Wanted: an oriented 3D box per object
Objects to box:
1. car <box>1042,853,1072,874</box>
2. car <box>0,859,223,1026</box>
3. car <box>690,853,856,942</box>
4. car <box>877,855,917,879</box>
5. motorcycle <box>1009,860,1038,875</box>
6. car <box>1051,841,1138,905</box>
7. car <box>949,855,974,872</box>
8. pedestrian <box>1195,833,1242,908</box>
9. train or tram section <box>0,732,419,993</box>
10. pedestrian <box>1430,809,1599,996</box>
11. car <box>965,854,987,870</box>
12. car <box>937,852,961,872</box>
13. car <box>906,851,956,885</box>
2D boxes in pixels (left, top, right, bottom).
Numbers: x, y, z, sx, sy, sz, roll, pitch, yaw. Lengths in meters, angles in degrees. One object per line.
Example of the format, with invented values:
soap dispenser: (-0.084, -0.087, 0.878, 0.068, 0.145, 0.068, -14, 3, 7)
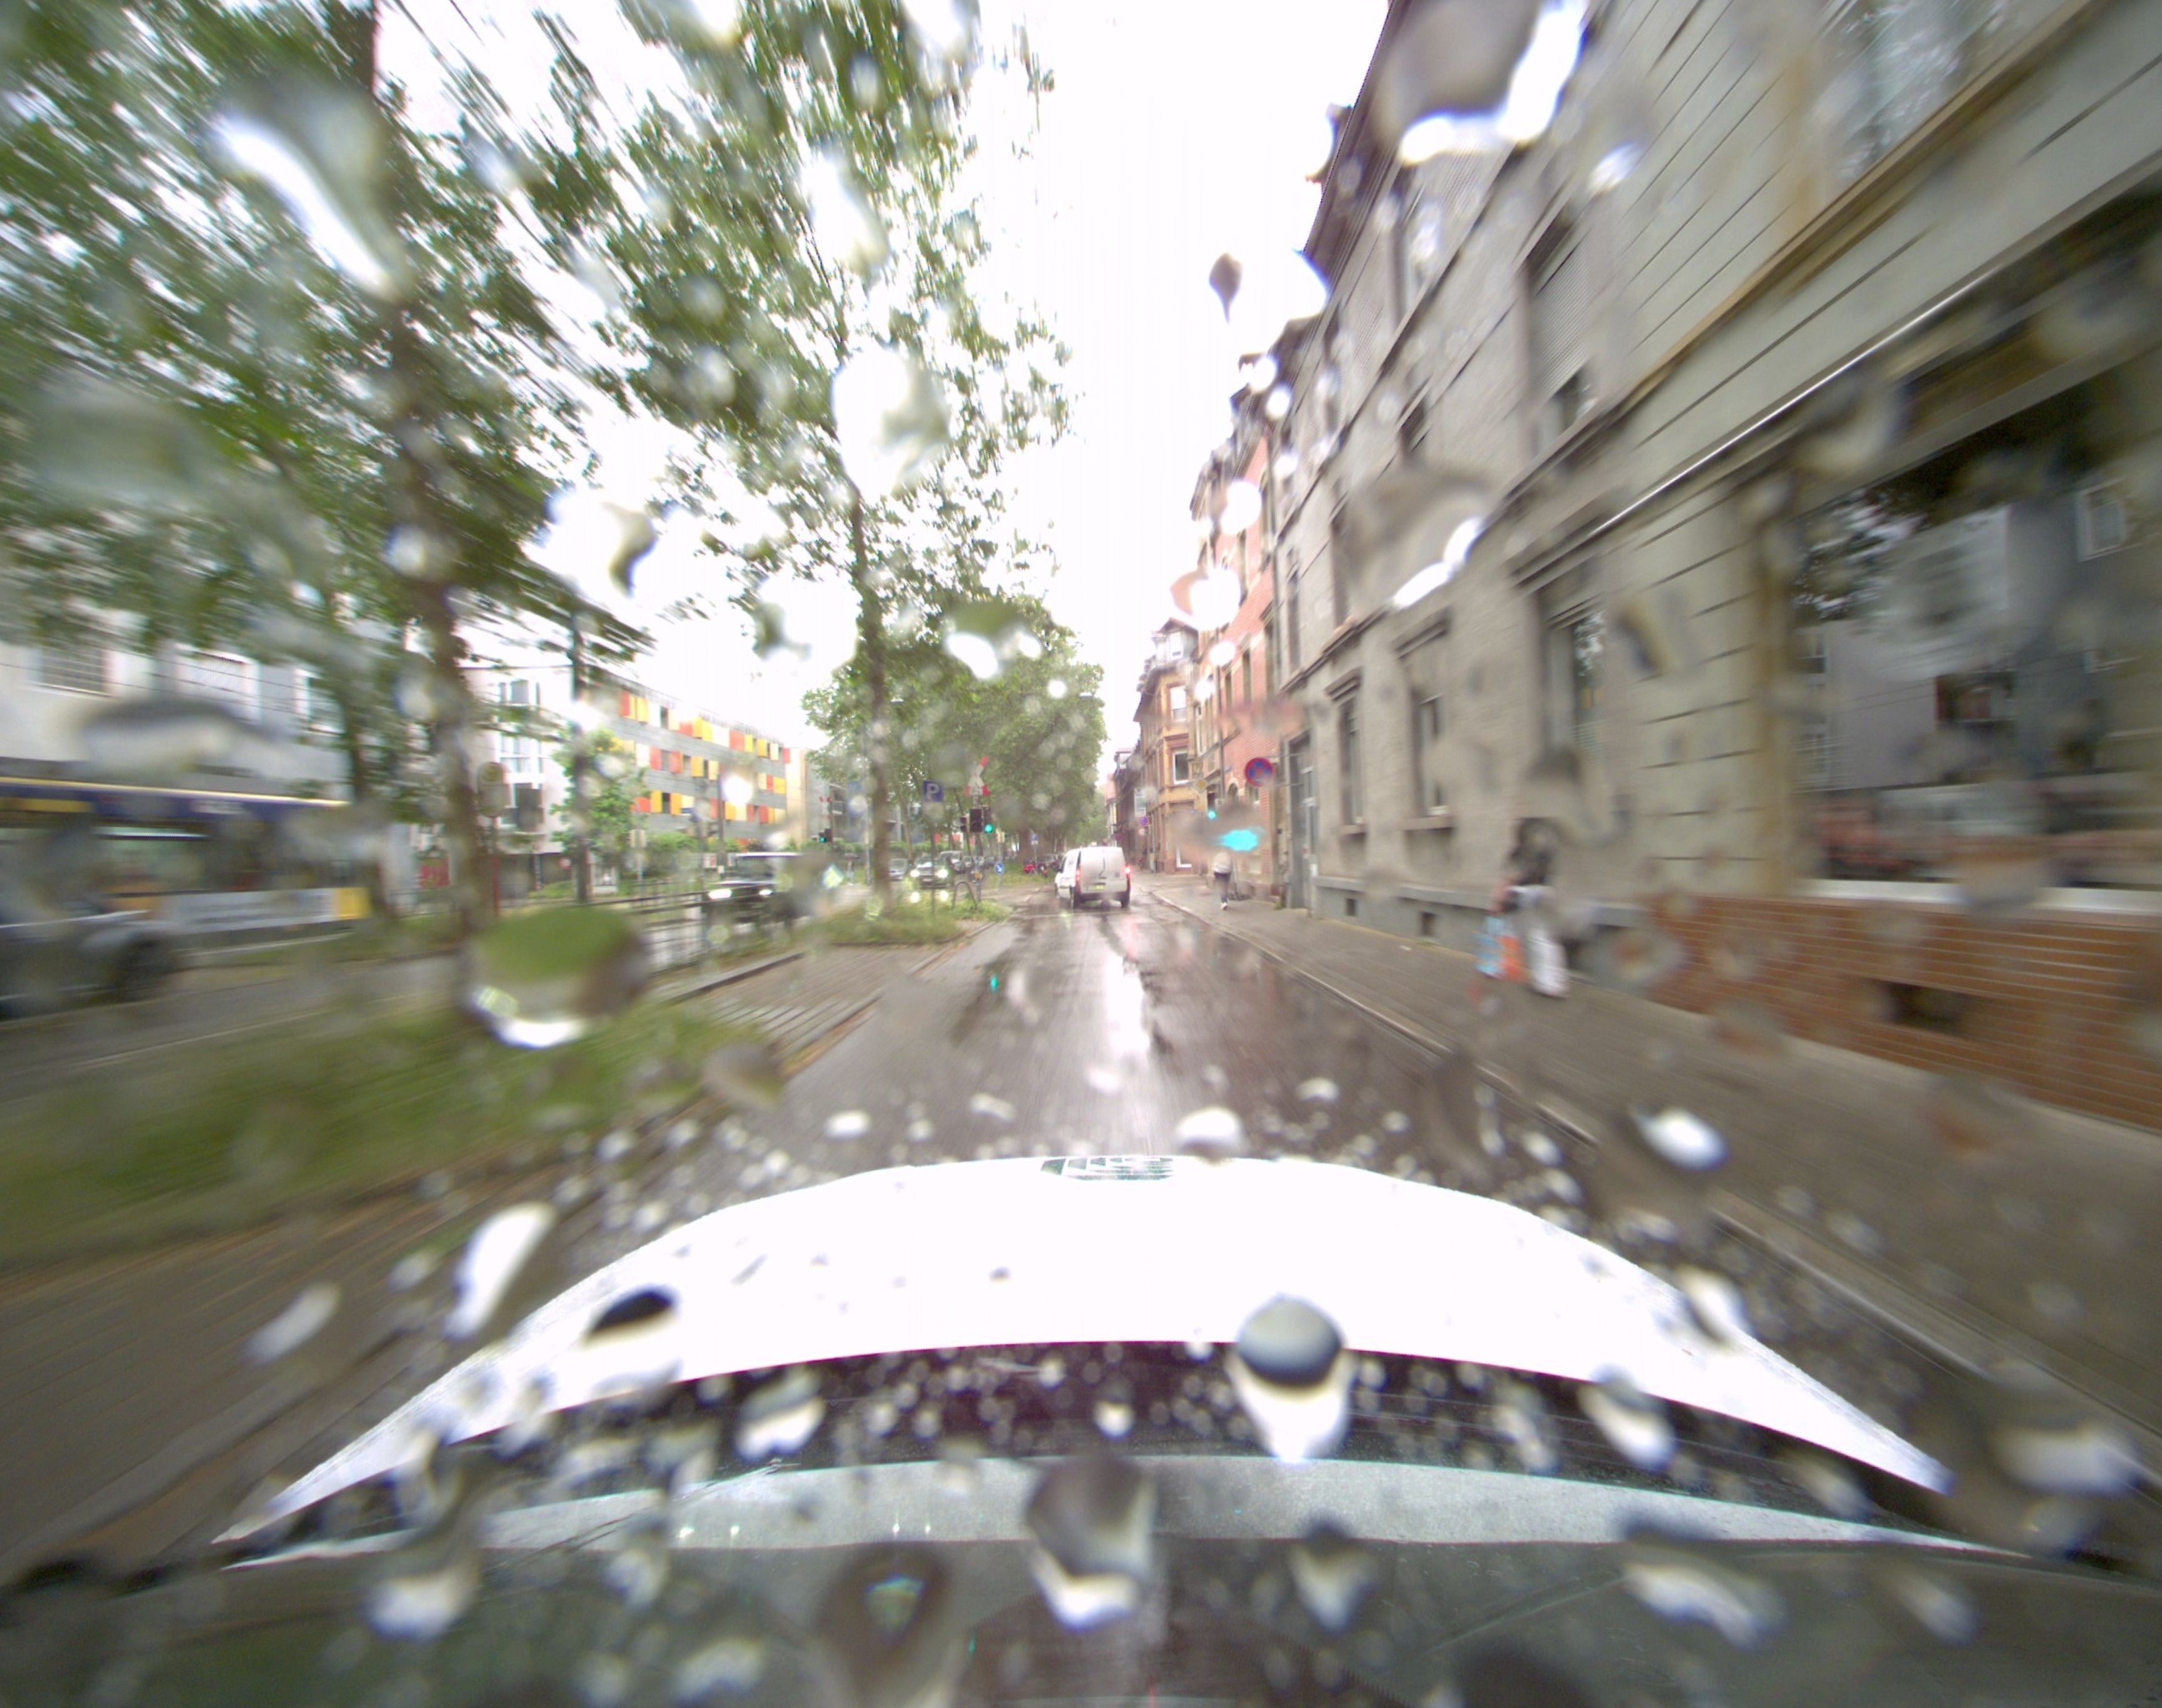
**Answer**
car: (-1.727, 0.685, 59.791, 1.986, 1.387, 4.002, -2, 0, 2)
car: (-11.612, 0.909, 8.046, 1.987, 1.613, 3.999, -2, 0, 0)
car: (-6.398, 0.827, 17.451, 1.991, 1.613, 3.999, -2, 0, 0)
car: (-11.852, 0.796, 52.698, 1.991, 1.415, 3.991, -2, 0, -6)
motorcycle: (-3.595, 0.830, 51.259, 1.698, 0.864, 0.578, -2, 0, 5)
car: (0.330, 0.609, 25.760, 1.905, 1.797, 4.097, -2, -1, -11)
car: (-11.719, 0.916, 80.206, 1.993, 1.613, 4.119, -2, 0, -3)
pedestrian: (3.369, 0.383, 20.045, 0.837, 1.716, 1.108, -6, 0, 1)
train or tram section: (-16.241, 0.171, 10.672, 3.096, 3.558, 14.670, -3, -1, 0)
pedestrian: (3.902, 0.408, 7.436, 0.837, 1.511, 1.108, -5, 0, 1)
car: (-11.647, 0.864, 90.509, 1.993, 1.613, 4.119, -2, 0, -3)
car: (-11.382, 0.675, 70.426, 1.993, 1.581, 3.988, -2, 0, -9)
car: (-7.778, 0.677, 42.588, 1.993, 1.613, 4.119, -2, 0, -3)
